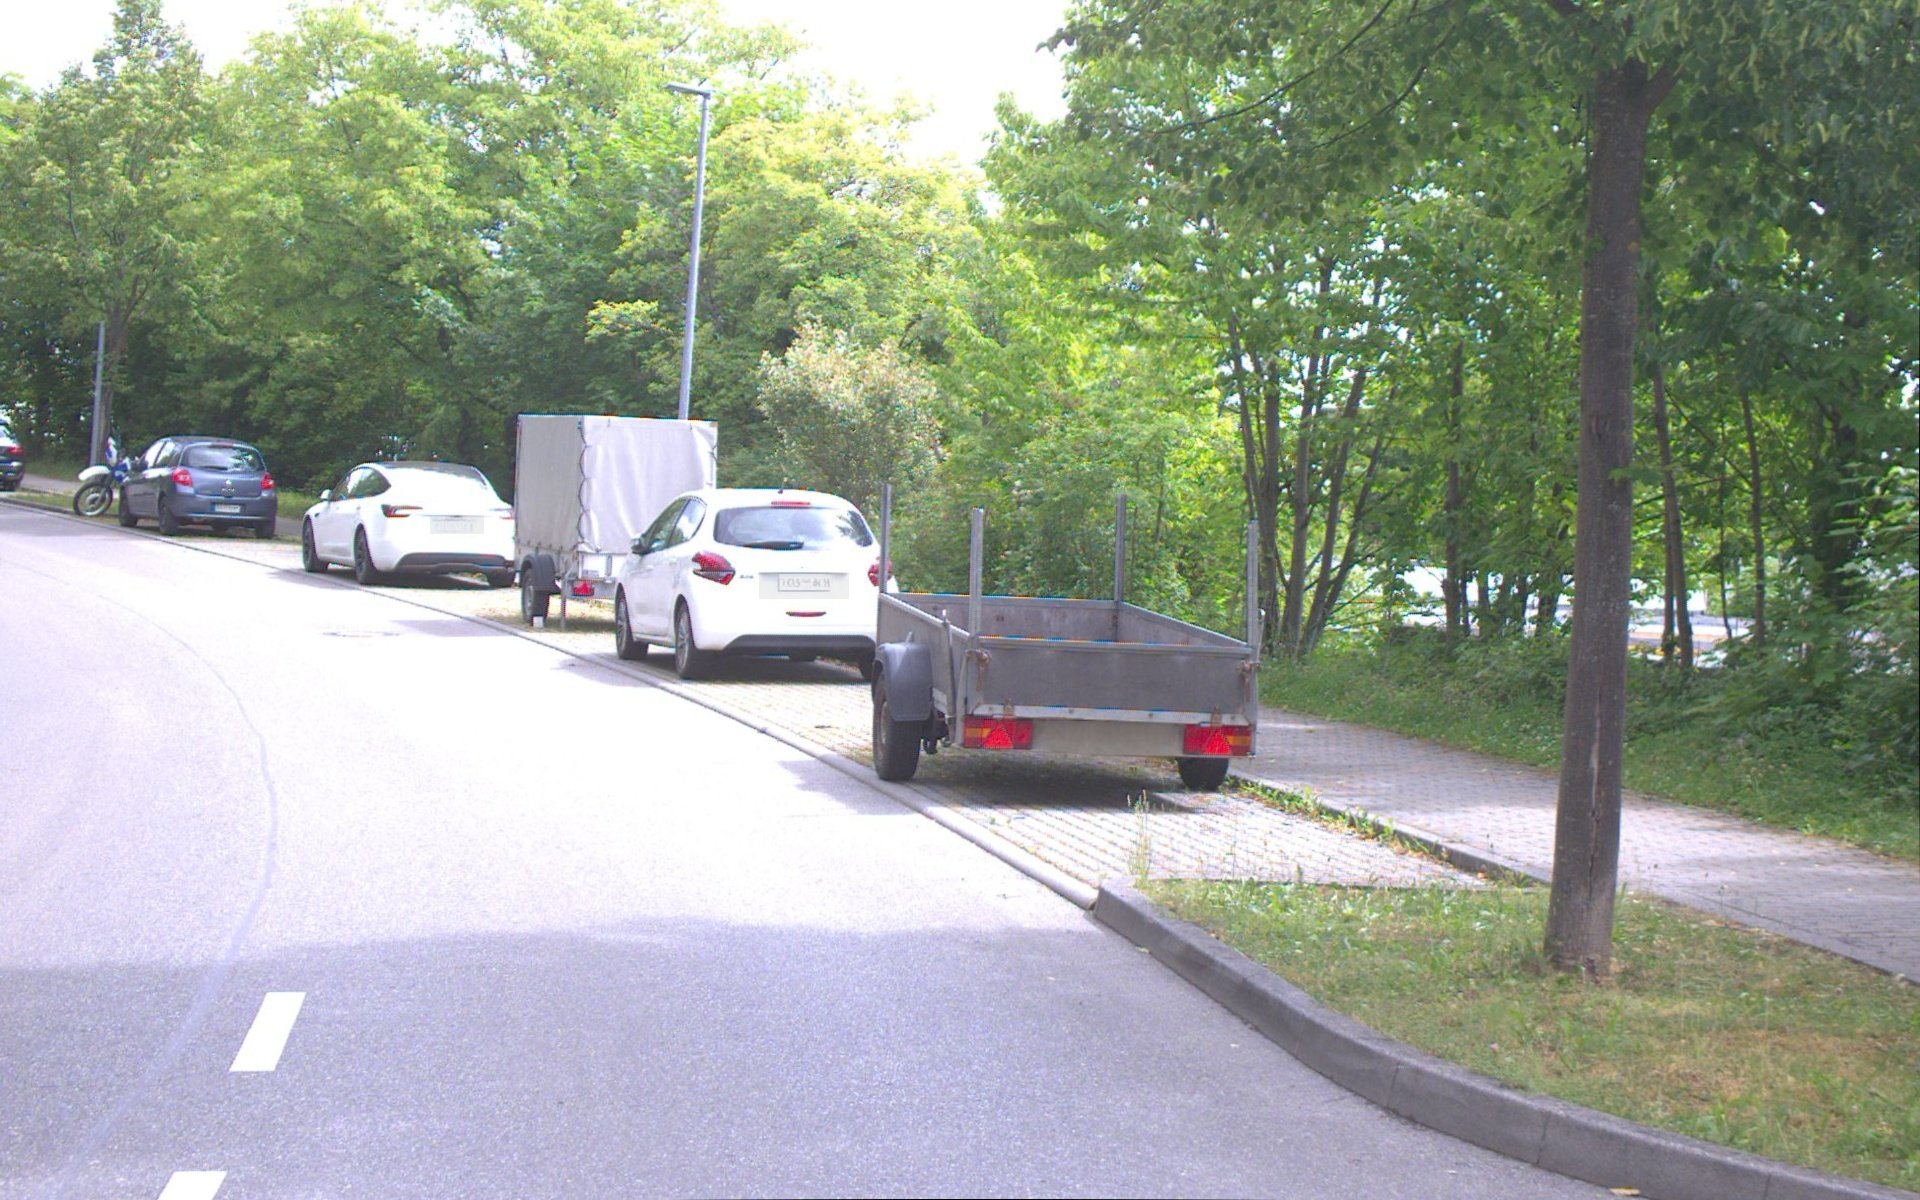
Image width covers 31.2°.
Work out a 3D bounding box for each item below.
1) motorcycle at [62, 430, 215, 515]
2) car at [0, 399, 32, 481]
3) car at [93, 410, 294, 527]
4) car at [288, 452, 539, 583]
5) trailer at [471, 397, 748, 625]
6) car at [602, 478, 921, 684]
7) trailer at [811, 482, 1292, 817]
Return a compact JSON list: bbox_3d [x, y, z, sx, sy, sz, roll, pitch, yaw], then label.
[{"bbox_3d":[-13.365,-2.088,55.982,2.168,1.261,1.069,3,5,12],"label":"motorcycle"},{"bbox_3d":[-19.349,-3.145,66.203,1.841,1.511,4.001,1,4,-30],"label":"car"},{"bbox_3d":[-11.799,-2.060,52.755,1.886,1.681,4.353,-2,4,-28],"label":"car"},{"bbox_3d":[-6.707,-1.039,41.826,1.886,1.371,4.353,1,3,-25],"label":"car"},{"bbox_3d":[-3.548,-0.929,34.138,1.739,2.104,4.002,1,3,-20],"label":"trailer"},{"bbox_3d":[-1.689,-0.202,27.862,1.768,1.406,4.002,1,3,-15],"label":"car"},{"bbox_3d":[0.368,0.184,18.732,1.784,1.520,4.002,2,3,-10],"label":"trailer"}]
